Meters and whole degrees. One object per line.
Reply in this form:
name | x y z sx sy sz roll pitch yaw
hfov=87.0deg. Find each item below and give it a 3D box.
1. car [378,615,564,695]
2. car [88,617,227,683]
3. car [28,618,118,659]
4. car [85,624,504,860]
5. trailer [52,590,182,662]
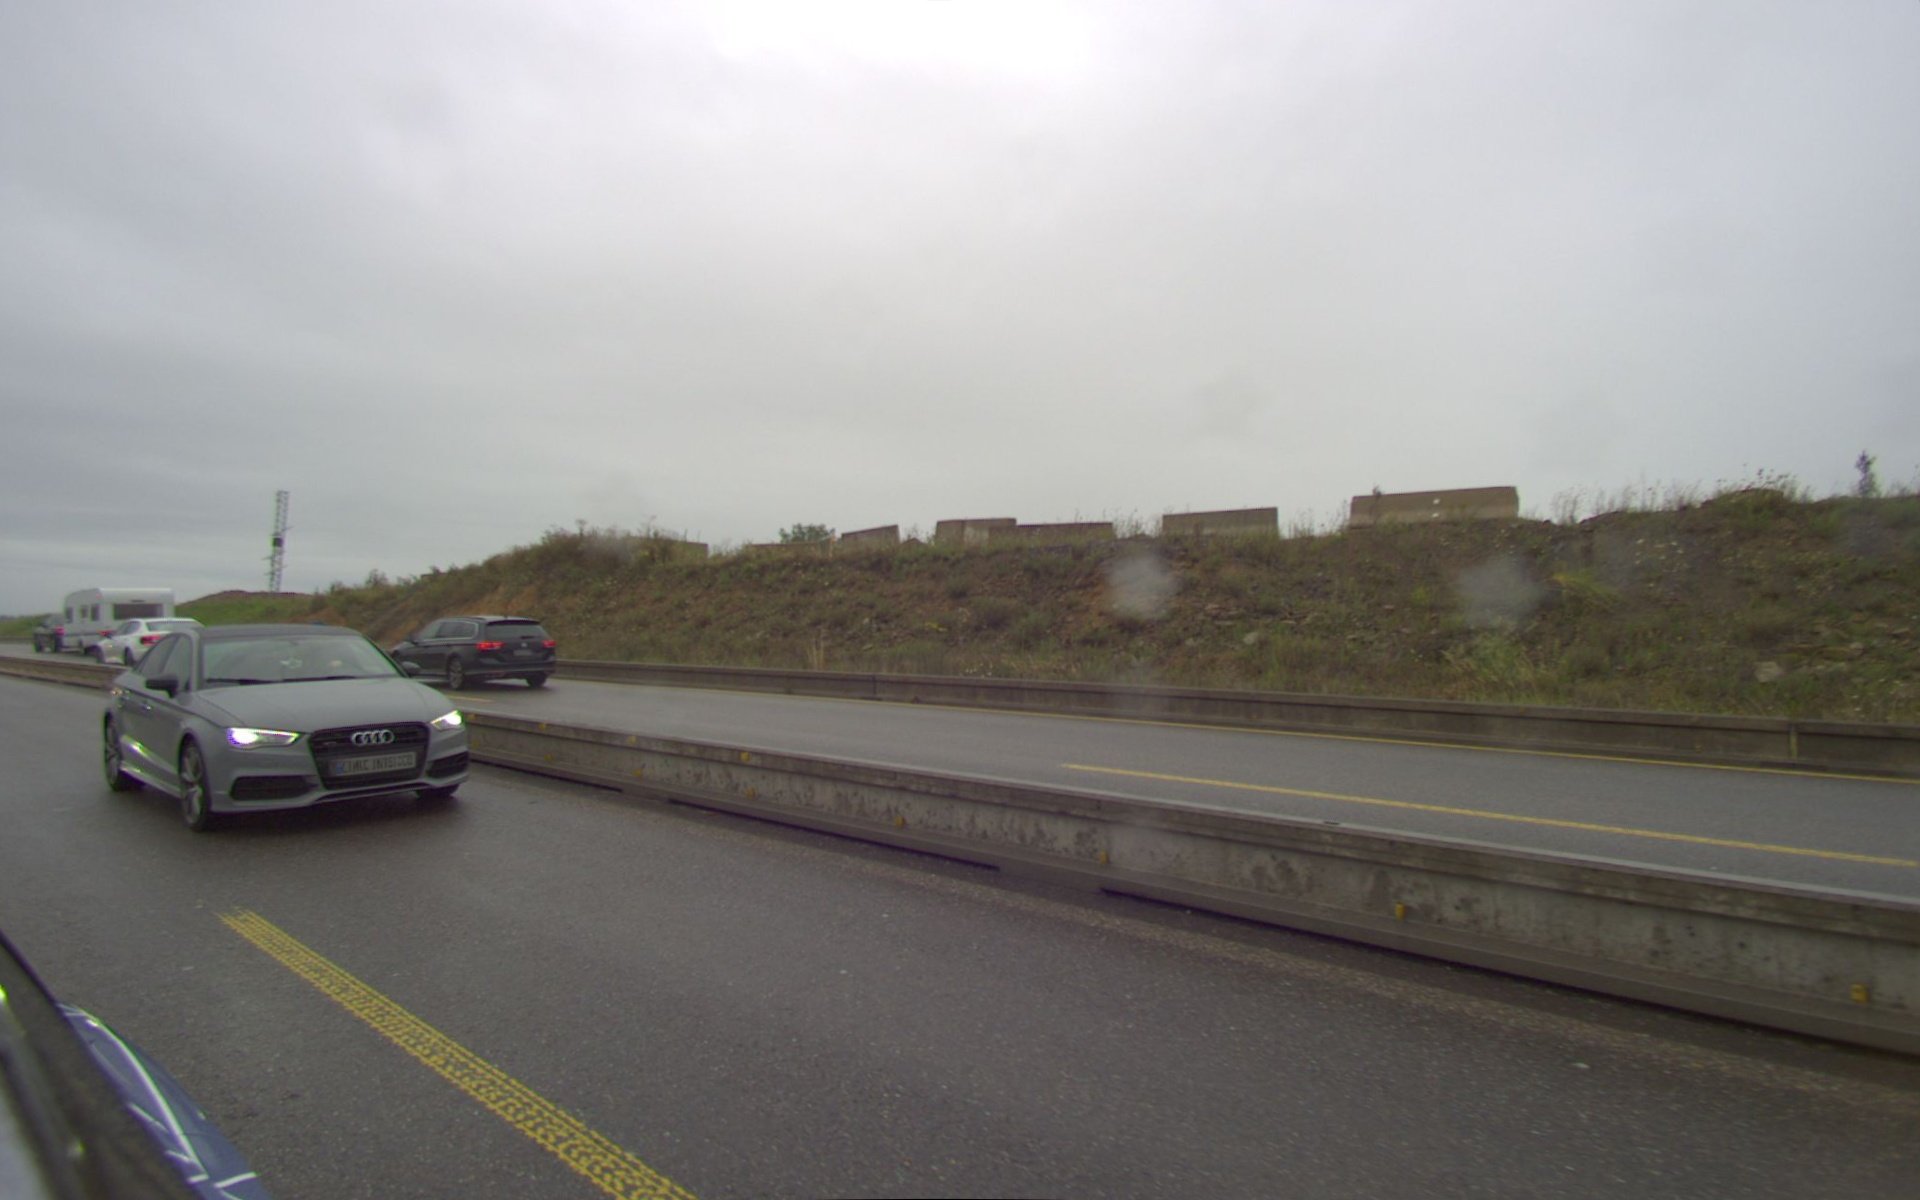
car | -10.150 1.055 20.839 4.669 1.454 1.750 -1 0 41
car | -20.664 1.283 25.994 4.329 1.511 1.859 -3 -1 39
car | -38.028 1.610 43.344 5.112 1.598 1.975 -1 0 38
car | -5.551 0.919 8.247 4.085 1.393 1.782 -1 -1 40
trailer | -33.122 0.988 39.657 7.153 2.584 2.486 -1 0 38
